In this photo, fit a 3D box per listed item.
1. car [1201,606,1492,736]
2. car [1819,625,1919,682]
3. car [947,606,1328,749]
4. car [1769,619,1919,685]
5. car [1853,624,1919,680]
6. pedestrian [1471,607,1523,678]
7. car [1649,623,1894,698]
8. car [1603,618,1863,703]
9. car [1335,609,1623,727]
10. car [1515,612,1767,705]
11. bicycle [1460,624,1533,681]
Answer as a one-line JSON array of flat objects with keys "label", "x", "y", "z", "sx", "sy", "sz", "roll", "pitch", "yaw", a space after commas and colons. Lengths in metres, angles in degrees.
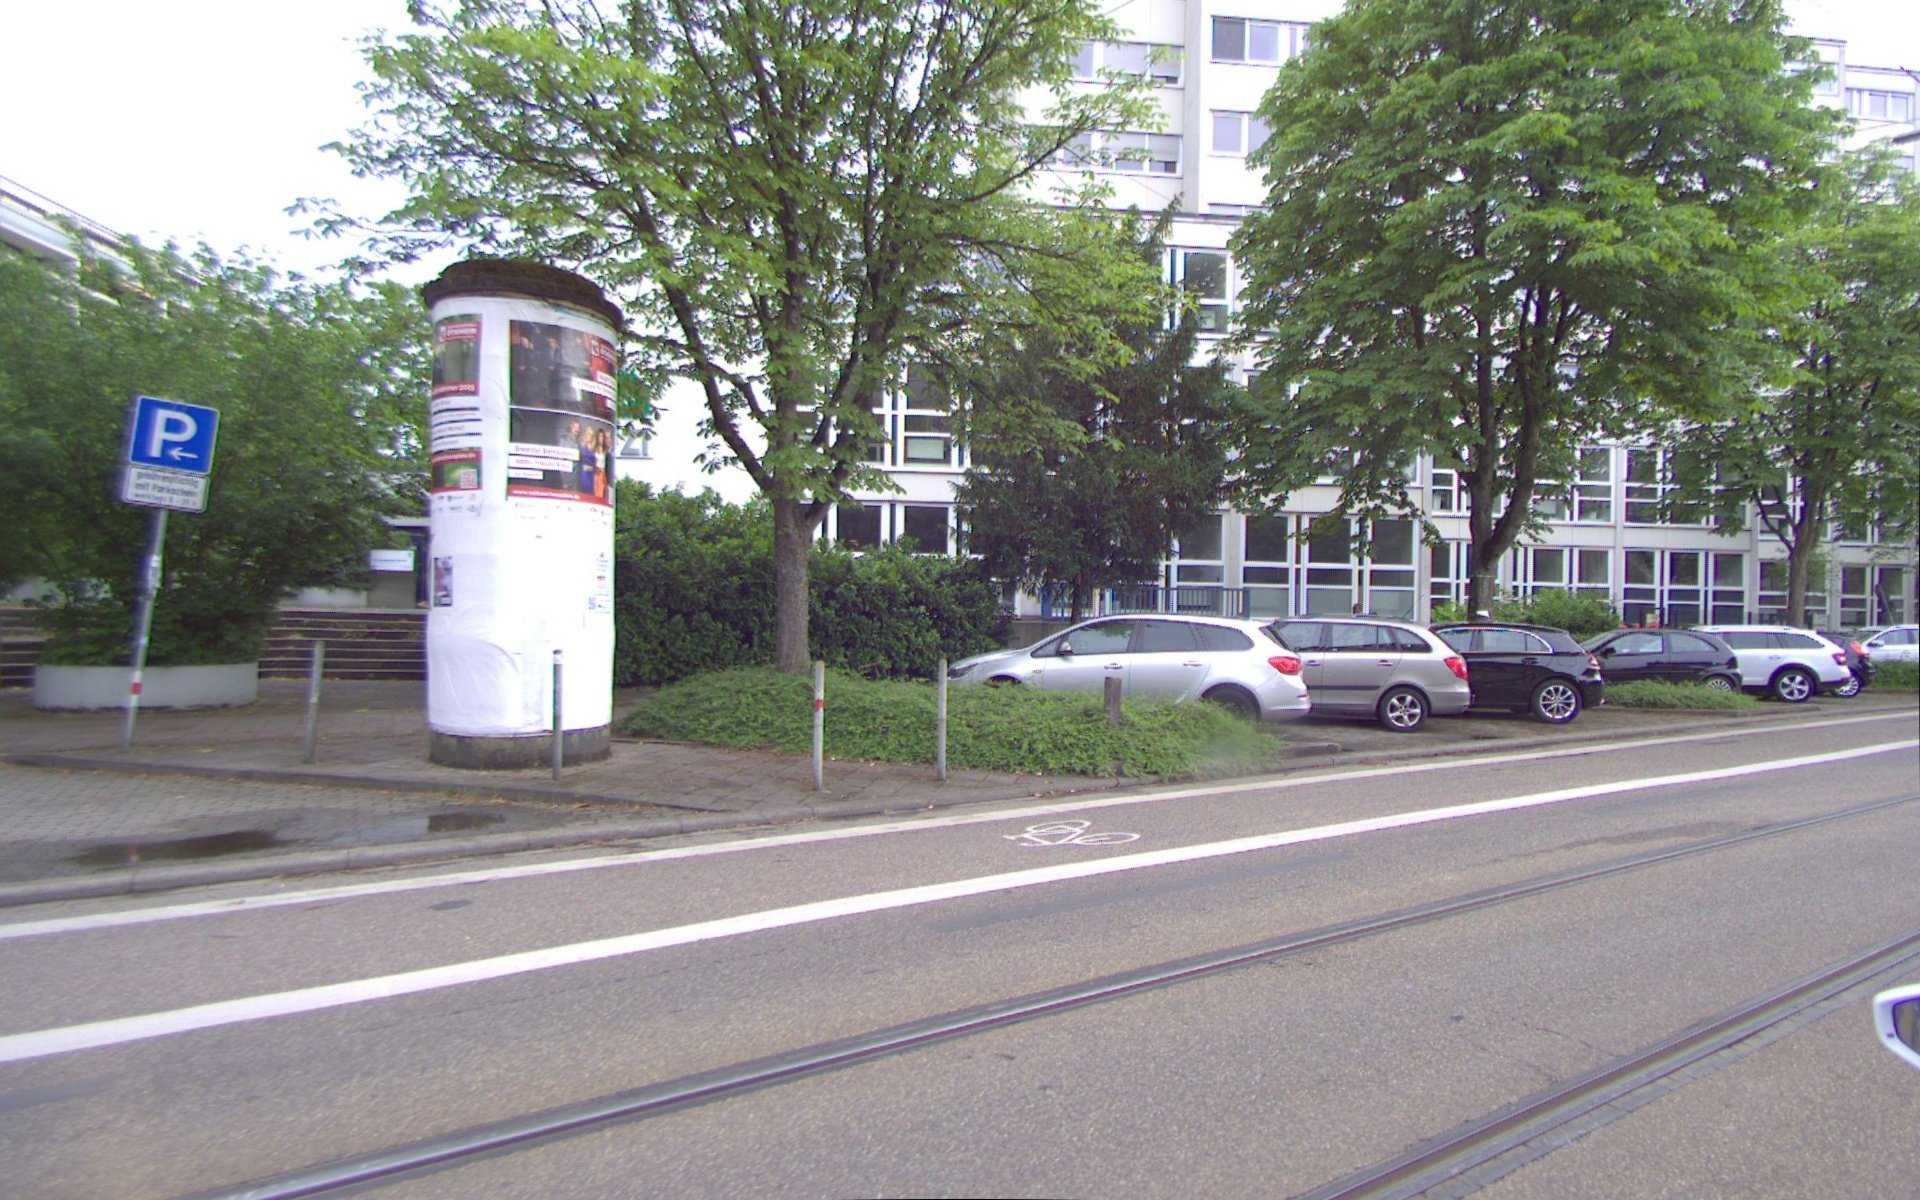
[{"label": "car", "x": 5.243, "y": 0.914, "z": 14.048, "sx": 3.578, "sy": 1.544, "sz": 1.573, "roll": 2, "pitch": 1, "yaw": 15}, {"label": "car", "x": 26.847, "y": 1.513, "z": 27.841, "sx": 4.258, "sy": 1.473, "sz": 1.701, "roll": 2, "pitch": 1, "yaw": 14}, {"label": "car", "x": 2.171, "y": 0.886, "z": 12.627, "sx": 4.342, "sy": 1.484, "sz": 1.805, "roll": 2, "pitch": 0, "yaw": 12}, {"label": "car", "x": 24.132, "y": 1.364, "z": 26.302, "sx": 4.258, "sy": 1.577, "sz": 1.701, "roll": 2, "pitch": 1, "yaw": 10}, {"label": "car", "x": 29.526, "y": 1.581, "z": 29.754, "sx": 4.258, "sy": 1.556, "sz": 1.701, "roll": 2, "pitch": 1, "yaw": 14}, {"label": "pedestrian", "x": 12.982, "y": 1.022, "z": 24.299, "sx": 0.720, "sy": 1.633, "sz": 0.754, "roll": 3, "pitch": 1, "yaw": -7}, {"label": "car", "x": 18.229, "y": 1.318, "z": 22.798, "sx": 3.950, "sy": 1.424, "sz": 1.699, "roll": 2, "pitch": 1, "yaw": 21}, {"label": "car", "x": 16.048, "y": 1.201, "z": 21.109, "sx": 3.950, "sy": 1.504, "sz": 1.699, "roll": 2, "pitch": 1, "yaw": 21}, {"label": "car", "x": 7.832, "y": 0.977, "z": 15.517, "sx": 3.631, "sy": 1.544, "sz": 1.700, "roll": 2, "pitch": 1, "yaw": 15}, {"label": "car", "x": 13.063, "y": 1.078, "z": 19.509, "sx": 3.631, "sy": 1.544, "sz": 1.700, "roll": 2, "pitch": 1, "yaw": 15}, {"label": "bicycle", "x": 12.975, "y": 1.270, "z": 24.289, "sx": 1.566, "sy": 1.285, "sz": 0.405, "roll": 3, "pitch": 0, "yaw": -8}]
